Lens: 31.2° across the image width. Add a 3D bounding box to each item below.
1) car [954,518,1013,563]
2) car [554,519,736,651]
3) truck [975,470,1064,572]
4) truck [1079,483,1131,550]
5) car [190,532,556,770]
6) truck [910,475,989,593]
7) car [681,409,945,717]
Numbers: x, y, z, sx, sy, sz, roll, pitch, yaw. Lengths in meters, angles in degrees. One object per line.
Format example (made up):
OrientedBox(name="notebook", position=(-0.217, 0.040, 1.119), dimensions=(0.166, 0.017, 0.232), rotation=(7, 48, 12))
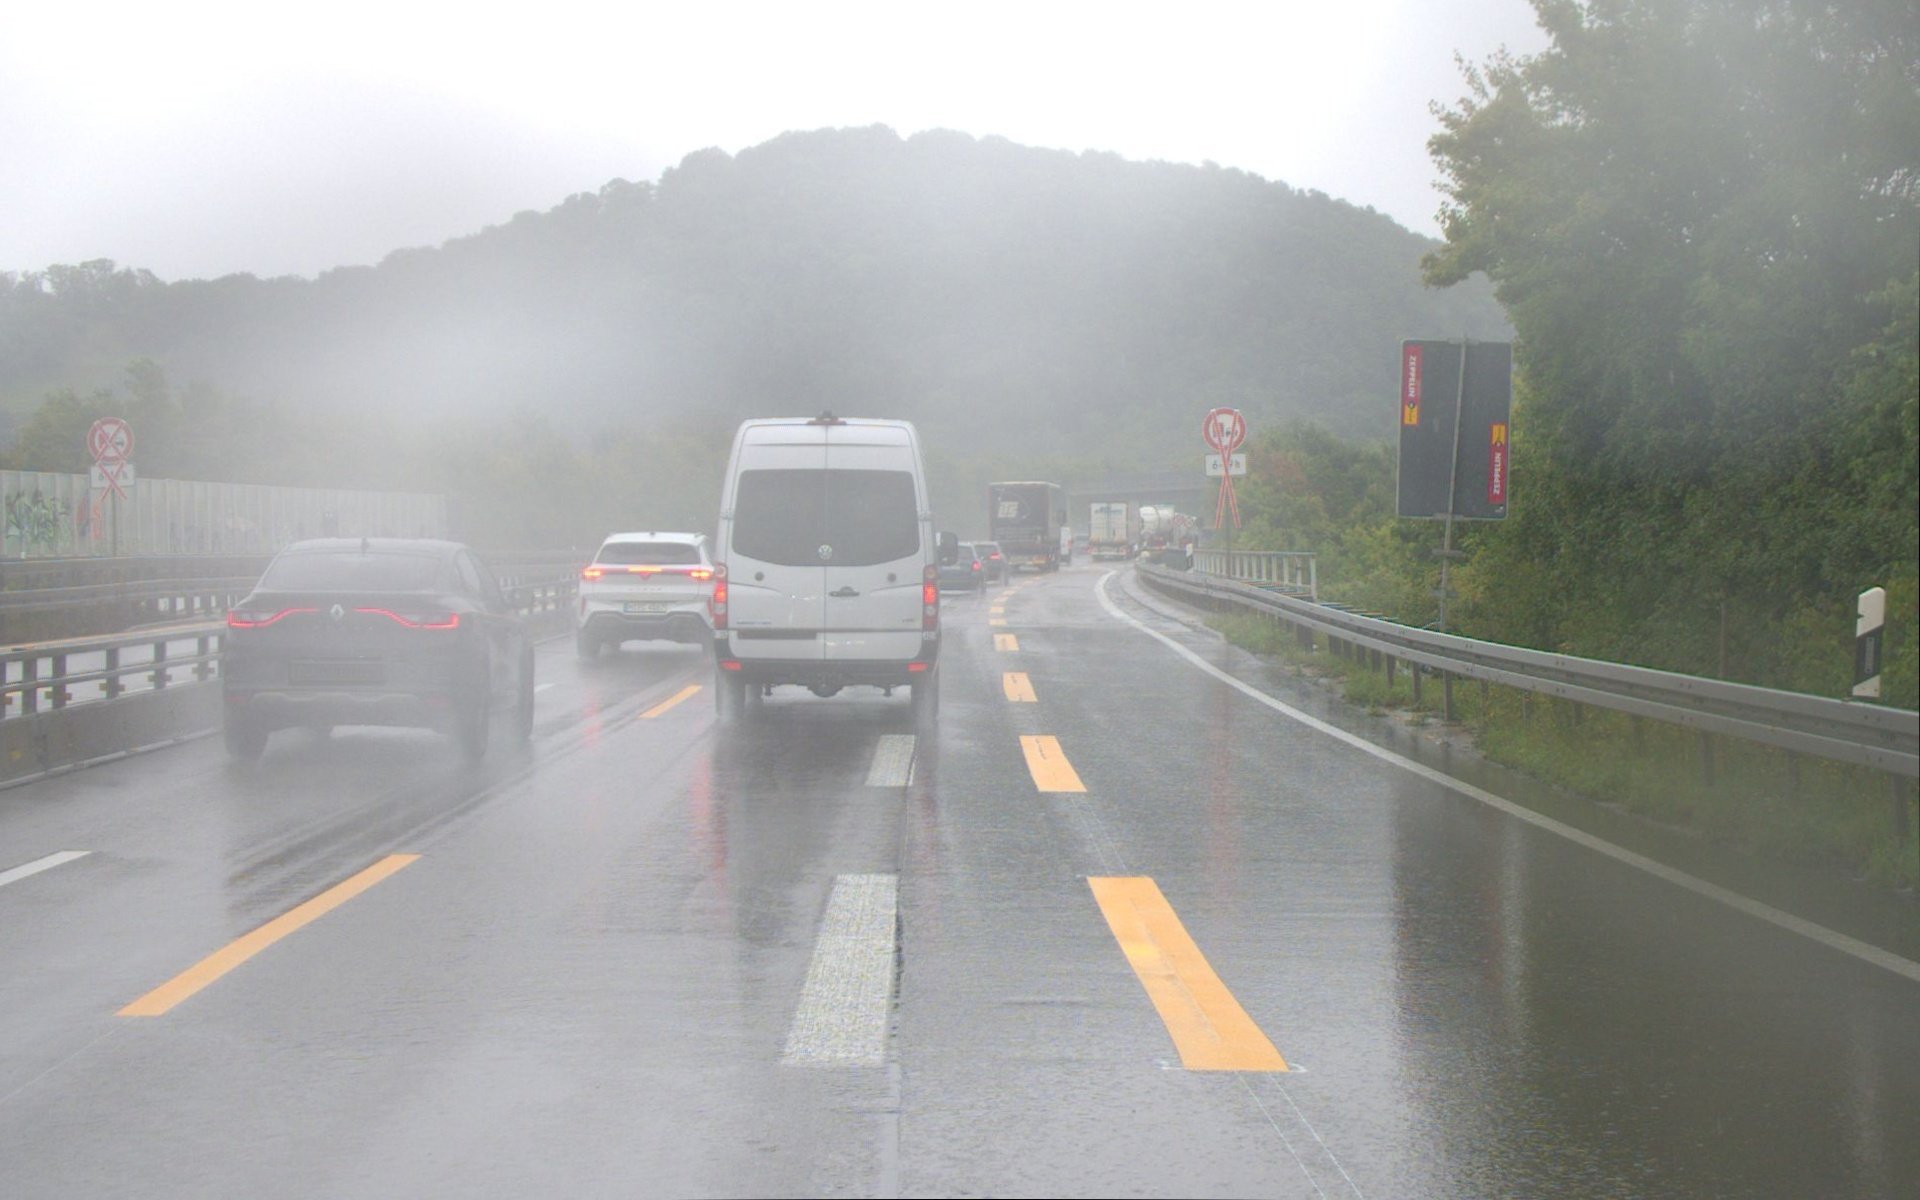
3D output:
OrientedBox(name="car", position=(0.800, -1.966, 113.774), dimensions=(1.774, 1.470, 4.000), rotation=(0, 1, 3))
OrientedBox(name="car", position=(-4.013, -0.218, 44.536), dimensions=(1.993, 1.612, 4.797), rotation=(0, 1, -1))
OrientedBox(name="truck", position=(2.707, -3.505, 153.945), dimensions=(3.581, 4.391, 9.623), rotation=(1, 1, 3))
OrientedBox(name="truck", position=(9.816, -5.604, 232.429), dimensions=(3.036, 4.391, 9.622), rotation=(1, 1, 5))
OrientedBox(name="car", position=(-4.202, 0.313, 25.294), dimensions=(1.993, 1.579, 4.414), rotation=(0, 1, -1))
OrientedBox(name="truck", position=(-0.242, -1.797, 94.556), dimensions=(1.993, 3.098, 8.499), rotation=(0, 1, 1))
OrientedBox(name="car", position=(-1.244, -0.345, 31.489), dimensions=(2.145, 2.562, 5.390), rotation=(0, 1, 0))
